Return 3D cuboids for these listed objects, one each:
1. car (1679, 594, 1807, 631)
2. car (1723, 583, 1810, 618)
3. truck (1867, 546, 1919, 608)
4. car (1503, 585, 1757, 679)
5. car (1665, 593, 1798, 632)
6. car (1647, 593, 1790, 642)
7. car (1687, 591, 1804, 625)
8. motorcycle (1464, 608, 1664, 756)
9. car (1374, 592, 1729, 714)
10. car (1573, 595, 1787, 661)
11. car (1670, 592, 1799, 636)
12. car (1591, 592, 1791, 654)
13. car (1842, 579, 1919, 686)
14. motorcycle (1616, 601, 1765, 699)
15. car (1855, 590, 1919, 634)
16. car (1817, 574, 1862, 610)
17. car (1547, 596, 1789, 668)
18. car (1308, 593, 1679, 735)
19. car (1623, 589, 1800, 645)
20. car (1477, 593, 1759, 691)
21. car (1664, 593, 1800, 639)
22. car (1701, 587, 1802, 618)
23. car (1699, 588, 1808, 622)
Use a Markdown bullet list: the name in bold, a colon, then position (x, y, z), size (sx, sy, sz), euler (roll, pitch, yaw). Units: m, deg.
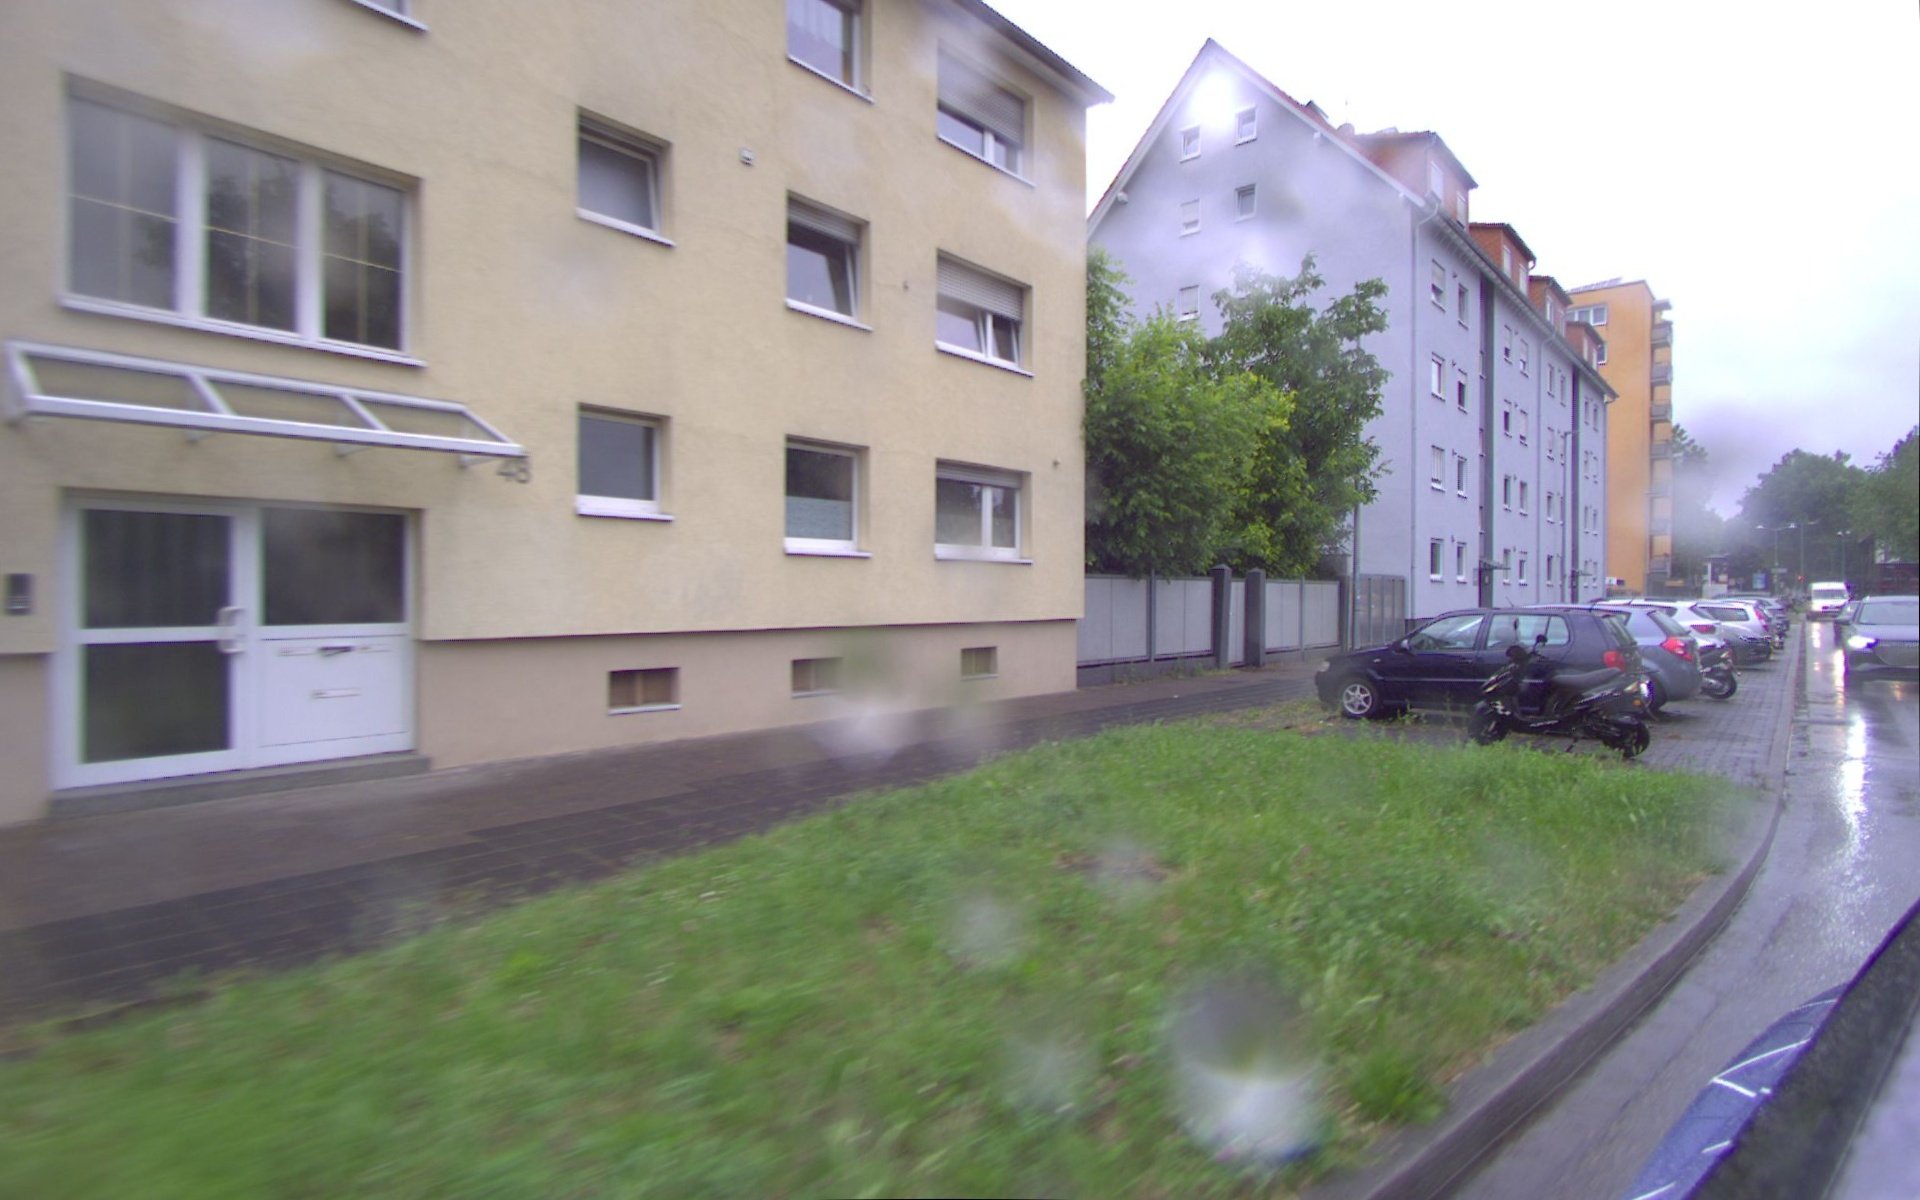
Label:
- **car**: position (33.072, 0.528, 42.819), size (4.158, 1.471, 1.625), euler (-1, 0, 43)
- **car**: position (48.682, 0.028, 61.103), size (3.985, 2.039, 1.969), euler (-1, 0, 43)
- **truck**: position (71.792, -1.750, 77.025), size (3.819, 4.440, 10.626), euler (-1, 0, 41)
- **car**: position (12.945, 0.570, 19.679), size (3.912, 1.635, 1.666), euler (-1, 0, 43)
- **car**: position (31.192, 0.486, 40.974), size (4.158, 1.471, 1.625), euler (-1, 0, 43)
- **car**: position (24.649, 0.556, 32.959), size (3.607, 1.506, 1.518), euler (-1, 0, 43)
- **car**: position (36.304, 0.360, 46.828), size (4.158, 1.471, 1.625), euler (-1, 0, 43)
- **motorcycle**: position (5.922, 0.754, 9.965), size (1.587, 1.341, 0.684), euler (-1, -1, 41)
- **car**: position (8.256, 0.676, 14.326), size (4.050, 1.473, 1.904), euler (-1, -2, 42)
- **car**: position (17.899, 0.652, 25.268), size (4.158, 1.495, 1.891), euler (-1, 0, 43)
- **car**: position (28.162, 0.494, 36.870), size (3.607, 1.506, 1.518), euler (-1, 0, 43)
- **car**: position (19.315, 0.578, 26.851), size (4.158, 1.495, 1.625), euler (-1, 0, 43)
- **car**: position (17.035, 0.500, 18.034), size (1.954, 1.733, 4.113), euler (-1, 0, 41)
- **motorcycle**: position (11.113, 0.728, 15.422), size (1.761, 1.390, 0.723), euler (-1, 0, 43)
- **car**: position (32.630, 0.388, 35.355), size (1.954, 1.408, 4.113), euler (-1, 0, 41)
- **car**: position (58.497, -0.526, 67.347), size (2.186, 2.284, 4.812), euler (-1, 0, 41)
- **car**: position (16.366, 0.690, 23.518), size (4.375, 1.495, 2.019), euler (-1, 0, 43)
- **car**: position (6.460, 0.693, 12.476), size (3.748, 1.473, 1.773), euler (-1, -2, 42)
- **car**: position (22.659, 0.487, 30.597), size (4.158, 1.589, 1.625), euler (-1, 0, 43)
- **car**: position (11.456, 0.665, 17.767), size (3.912, 1.499, 1.829), euler (-1, 0, 43)
- **car**: position (26.528, 0.530, 34.818), size (3.607, 1.506, 1.518), euler (-1, 0, 43)
- **car**: position (42.654, 0.149, 54.585), size (4.158, 1.626, 1.625), euler (-1, 0, 43)
- **car**: position (39.492, 0.228, 50.400), size (4.158, 1.626, 1.625), euler (-1, 0, 43)
